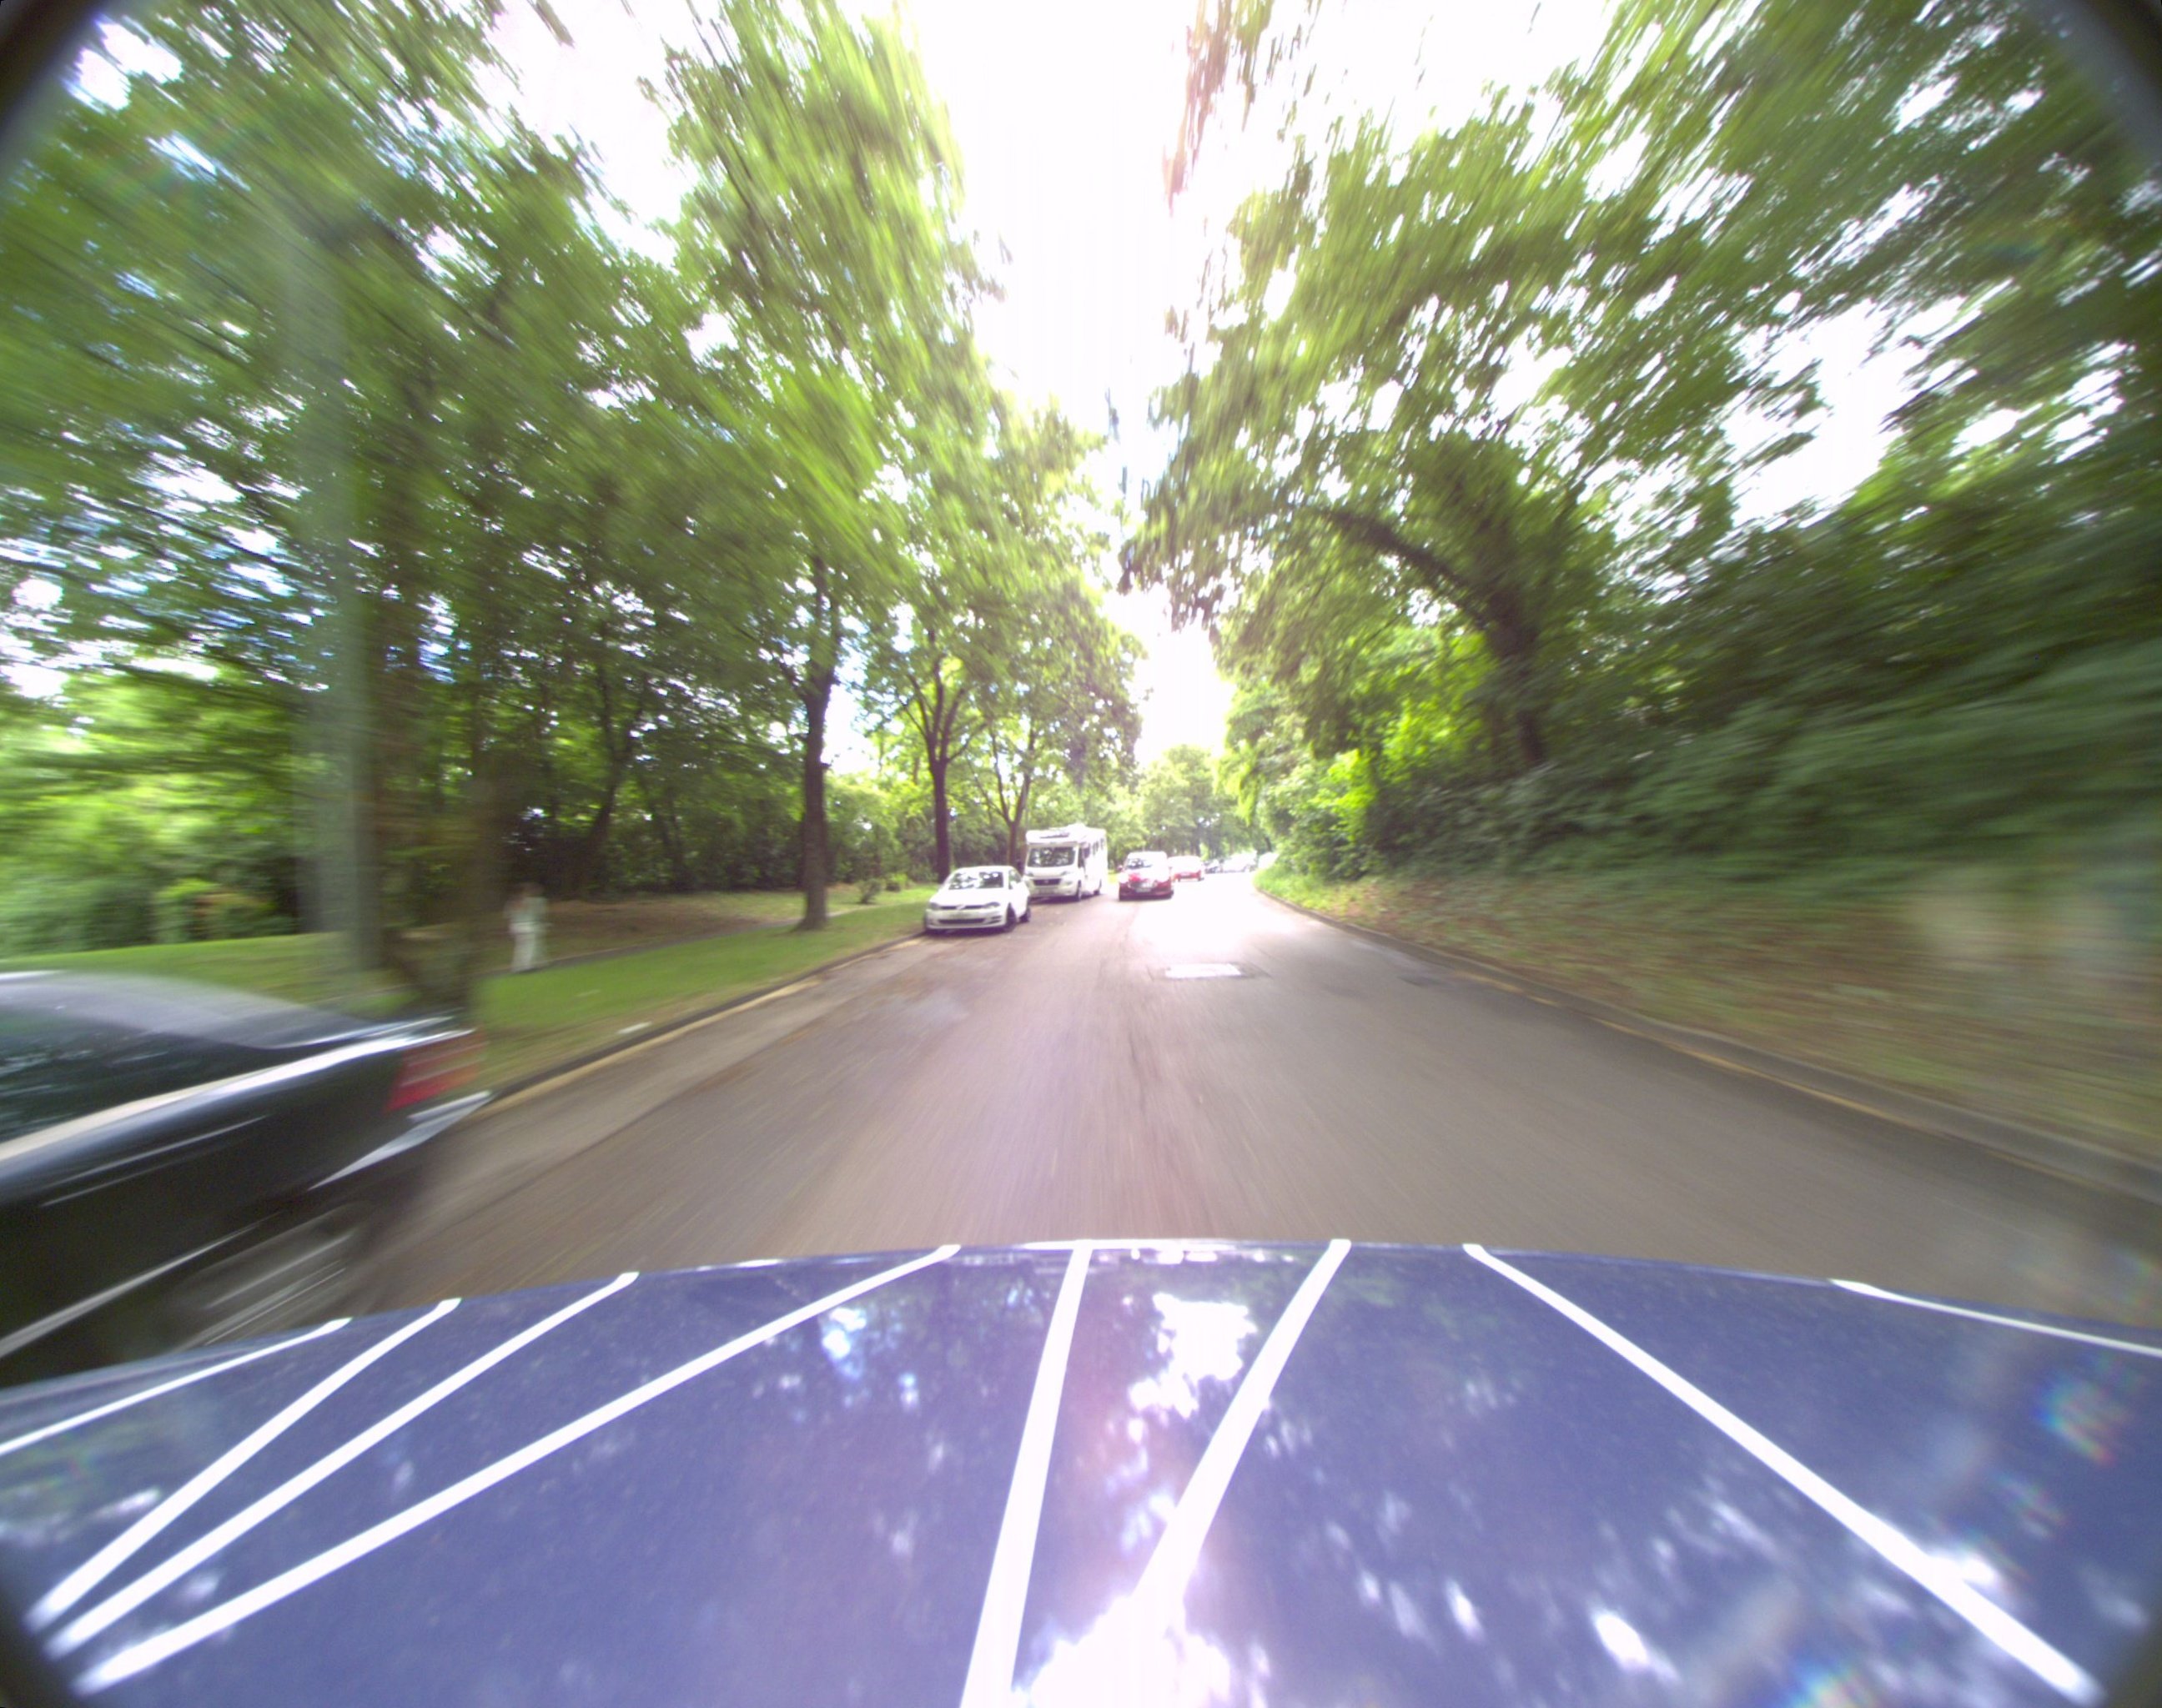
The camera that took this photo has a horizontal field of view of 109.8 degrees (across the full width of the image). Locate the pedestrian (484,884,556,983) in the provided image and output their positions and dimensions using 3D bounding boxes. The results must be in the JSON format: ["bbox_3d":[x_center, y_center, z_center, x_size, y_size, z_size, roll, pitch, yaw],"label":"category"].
[{"bbox_3d":[-9.944,1.381,13.495,0.582,1.642,0.872,-4,0,-5],"label":"pedestrian"}]

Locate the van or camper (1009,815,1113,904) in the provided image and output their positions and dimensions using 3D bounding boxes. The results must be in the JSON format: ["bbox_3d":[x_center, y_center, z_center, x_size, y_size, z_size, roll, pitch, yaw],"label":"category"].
[{"bbox_3d":[-0.574,0.168,30.120,2.429,2.962,7.399,-3,0,11],"label":"van or camper"}]

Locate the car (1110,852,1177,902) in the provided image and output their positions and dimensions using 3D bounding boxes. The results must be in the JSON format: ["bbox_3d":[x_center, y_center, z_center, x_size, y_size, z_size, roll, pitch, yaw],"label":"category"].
[{"bbox_3d":[2.408,0.783,28.156,2.002,1.599,4.680,-4,0,10],"label":"car"}]

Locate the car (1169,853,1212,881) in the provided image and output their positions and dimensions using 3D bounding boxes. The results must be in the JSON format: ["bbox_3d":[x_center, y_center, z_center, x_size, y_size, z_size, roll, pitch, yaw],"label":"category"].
[{"bbox_3d":[6.652,0.723,45.721,1.956,1.464,4.682,-4,0,14],"label":"car"}]

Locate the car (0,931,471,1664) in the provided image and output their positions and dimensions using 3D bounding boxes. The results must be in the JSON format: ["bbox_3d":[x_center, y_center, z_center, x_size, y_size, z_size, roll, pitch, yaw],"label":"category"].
[{"bbox_3d":[-3.109,1.021,0.792,1.593,1.457,4.315,2,-1,-3],"label":"car"}]

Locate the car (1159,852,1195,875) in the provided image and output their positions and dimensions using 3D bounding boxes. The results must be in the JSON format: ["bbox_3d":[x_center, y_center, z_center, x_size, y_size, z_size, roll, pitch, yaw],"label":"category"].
[{"bbox_3d":[7.658,0.739,60.003,1.712,1.543,4.683,-3,0,20],"label":"car"}]

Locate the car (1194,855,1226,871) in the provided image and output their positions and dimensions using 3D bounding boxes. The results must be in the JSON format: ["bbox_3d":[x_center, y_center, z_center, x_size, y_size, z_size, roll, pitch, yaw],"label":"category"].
[{"bbox_3d":[11.950,0.803,70.280,1.712,1.248,4.684,-4,0,25],"label":"car"}]

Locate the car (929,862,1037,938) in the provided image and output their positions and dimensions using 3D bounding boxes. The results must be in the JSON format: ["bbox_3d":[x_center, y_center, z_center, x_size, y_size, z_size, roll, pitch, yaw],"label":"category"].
[{"bbox_3d":[-2.203,0.989,18.133,1.692,1.474,4.108,-4,0,4],"label":"car"}]

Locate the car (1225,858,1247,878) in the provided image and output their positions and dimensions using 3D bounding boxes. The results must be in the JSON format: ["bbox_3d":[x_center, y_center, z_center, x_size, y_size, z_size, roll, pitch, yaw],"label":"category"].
[{"bbox_3d":[13.711,1.185,67.223,1.653,1.559,4.050,-3,0,14],"label":"car"}]

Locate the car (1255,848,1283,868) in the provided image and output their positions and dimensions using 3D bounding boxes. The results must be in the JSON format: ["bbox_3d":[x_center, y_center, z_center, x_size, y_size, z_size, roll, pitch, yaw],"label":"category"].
[{"bbox_3d":[15.957,0.336,64.289,1.796,1.499,4.006,-3,0,20],"label":"car"}]
